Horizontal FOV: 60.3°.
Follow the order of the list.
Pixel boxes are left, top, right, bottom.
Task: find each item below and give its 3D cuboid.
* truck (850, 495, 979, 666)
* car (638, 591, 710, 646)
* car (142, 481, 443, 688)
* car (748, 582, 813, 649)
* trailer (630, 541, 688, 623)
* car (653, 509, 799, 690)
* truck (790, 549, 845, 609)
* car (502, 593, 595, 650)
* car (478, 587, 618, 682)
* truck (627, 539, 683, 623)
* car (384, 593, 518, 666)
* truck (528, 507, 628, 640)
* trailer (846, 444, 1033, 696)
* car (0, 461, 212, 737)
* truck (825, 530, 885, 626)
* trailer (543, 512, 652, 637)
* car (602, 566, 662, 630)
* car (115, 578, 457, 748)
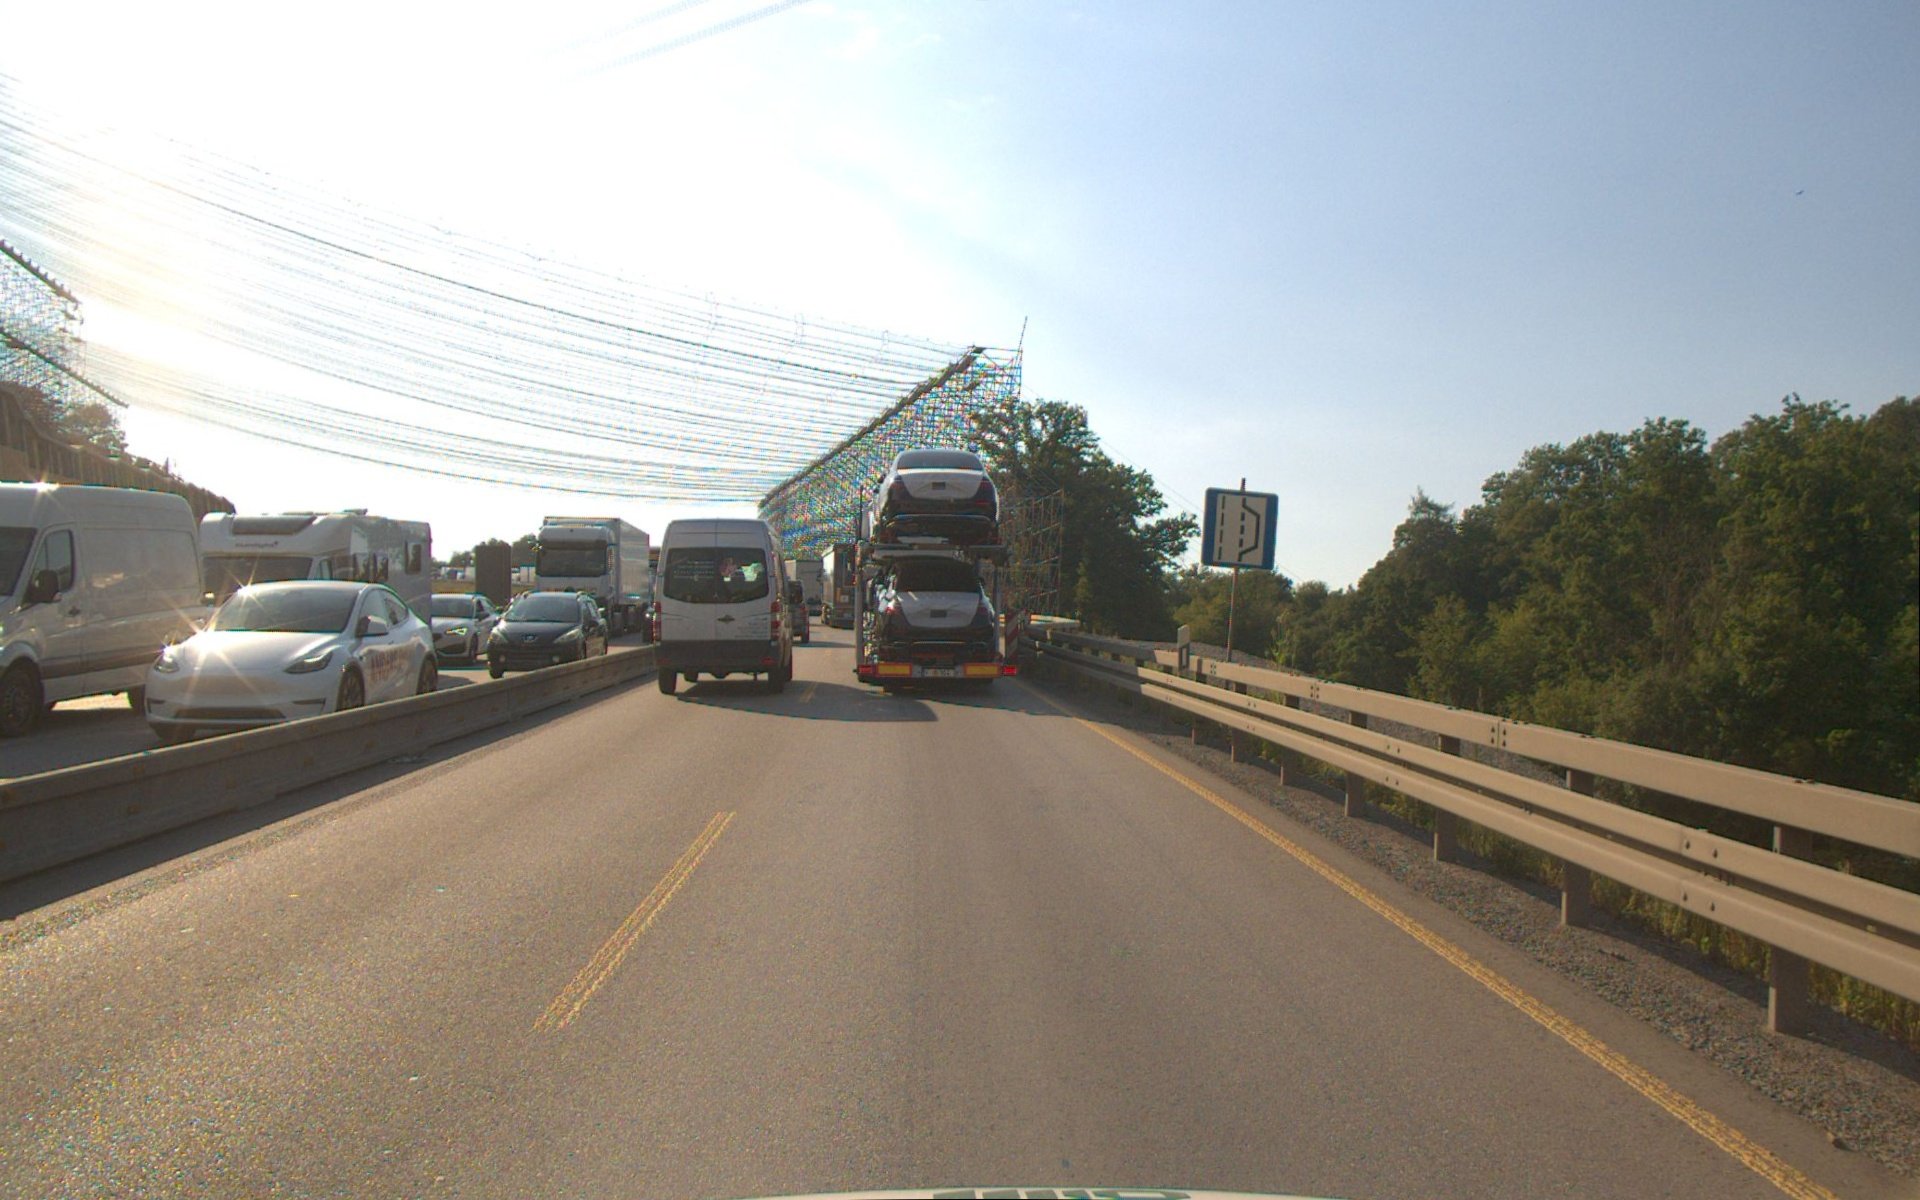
[{"bbox_3d":[-1.181,-0.430,40.213,2.824,3.767,7.321,0,0,-3],"label":"truck"},{"bbox_3d":[-9.286,0.555,54.055,1.781,1.606,4.752,-2,1,-4],"label":"car"},{"bbox_3d":[-10.801,-0.204,27.619,2.288,2.969,7.627,0,0,-3],"label":"car"},{"bbox_3d":[-5.866,0.500,53.777,1.956,2.049,3.992,1,0,-8],"label":"car"},{"bbox_3d":[-17.298,-0.960,95.708,2.714,4.409,13.855,0,0,-8],"label":"trailer"},{"bbox_3d":[-3.670,-0.001,26.546,1.917,2.666,3.998,0,0,-2],"label":"car"},{"bbox_3d":[-11.209,-1.627,129.229,3.617,4.294,13.647,-2,1,-7],"label":"truck"},{"bbox_3d":[-11.293,0.568,45.700,1.709,1.486,4.709,0,0,-4],"label":"car"},{"bbox_3d":[-7.607,0.587,30.899,1.746,1.548,3.998,2,1,-3],"label":"car"},{"bbox_3d":[-16.348,-0.974,88.954,2.693,4.375,5.923,0,0,-8],"label":"truck"},{"bbox_3d":[-10.907,0.610,35.736,1.714,1.447,4.606,1,0,-4],"label":"car"},{"bbox_3d":[-12.955,-0.866,56.457,2.661,4.292,5.674,0,0,-6],"label":"truck"},{"bbox_3d":[-0.742,-0.444,32.468,2.812,3.790,14.936,0,0,-3],"label":"trailer"},{"bbox_3d":[-10.441,0.014,18.506,1.918,2.666,5.743,0,0,-4],"label":"car"},{"bbox_3d":[-5.418,-1.106,83.813,2.679,4.462,11.510,1,0,-5],"label":"truck"},{"bbox_3d":[-13.792,-0.861,64.037,2.669,4.292,13.729,0,0,-6],"label":"trailer"},{"bbox_3d":[-15.029,-0.156,76.080,1.983,2.737,6.941,1,1,-6],"label":"car"},{"bbox_3d":[-7.186,0.566,18.246,2.017,1.512,4.723,-3,1,-4],"label":"car"}]
